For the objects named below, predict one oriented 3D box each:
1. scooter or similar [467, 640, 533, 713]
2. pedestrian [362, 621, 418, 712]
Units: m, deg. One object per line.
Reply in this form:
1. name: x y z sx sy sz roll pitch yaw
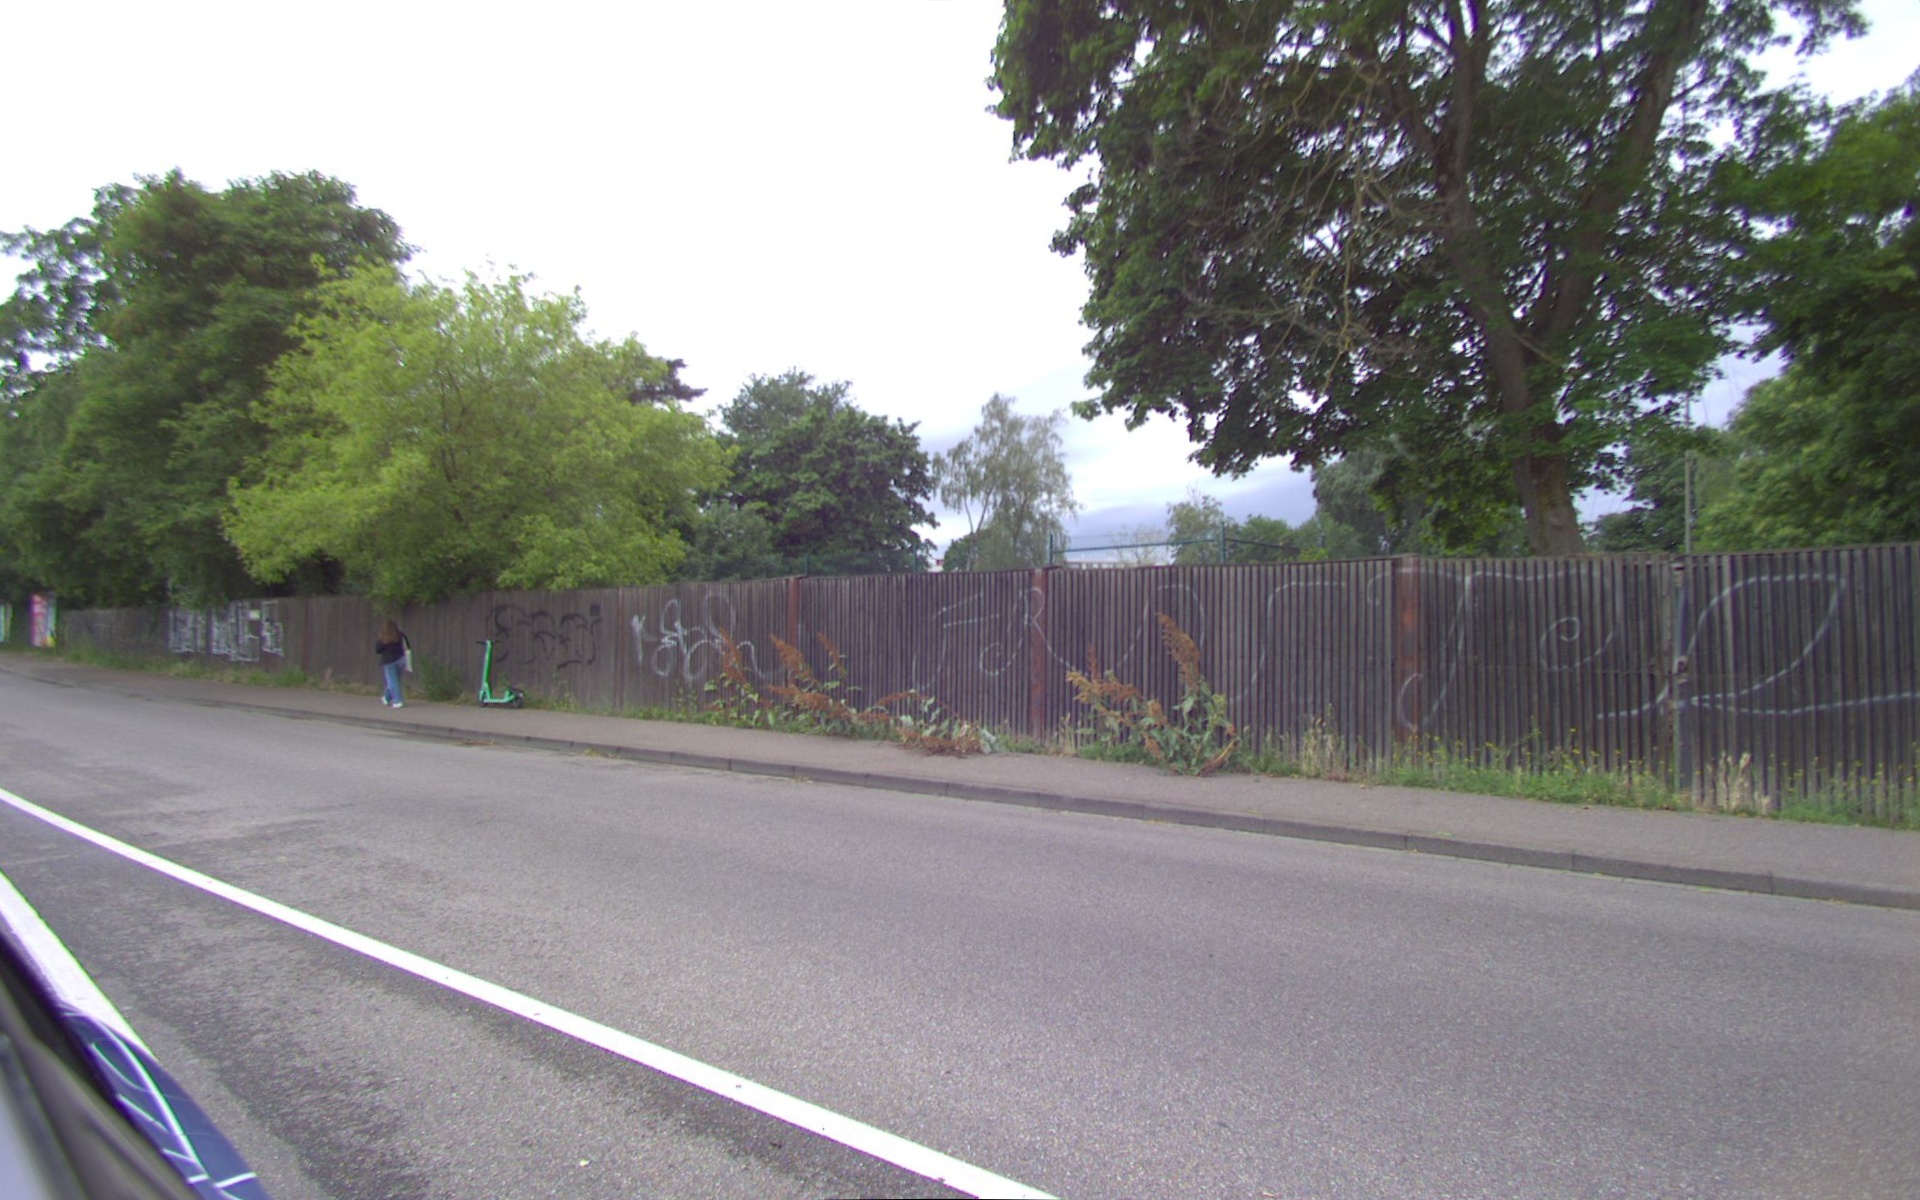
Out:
1. scooter or similar: -7.815 1.279 17.175 1.301 1.179 0.419 -2 -2 36
2. pedestrian: -10.022 1.151 17.792 0.723 1.541 0.606 -2 -2 37
